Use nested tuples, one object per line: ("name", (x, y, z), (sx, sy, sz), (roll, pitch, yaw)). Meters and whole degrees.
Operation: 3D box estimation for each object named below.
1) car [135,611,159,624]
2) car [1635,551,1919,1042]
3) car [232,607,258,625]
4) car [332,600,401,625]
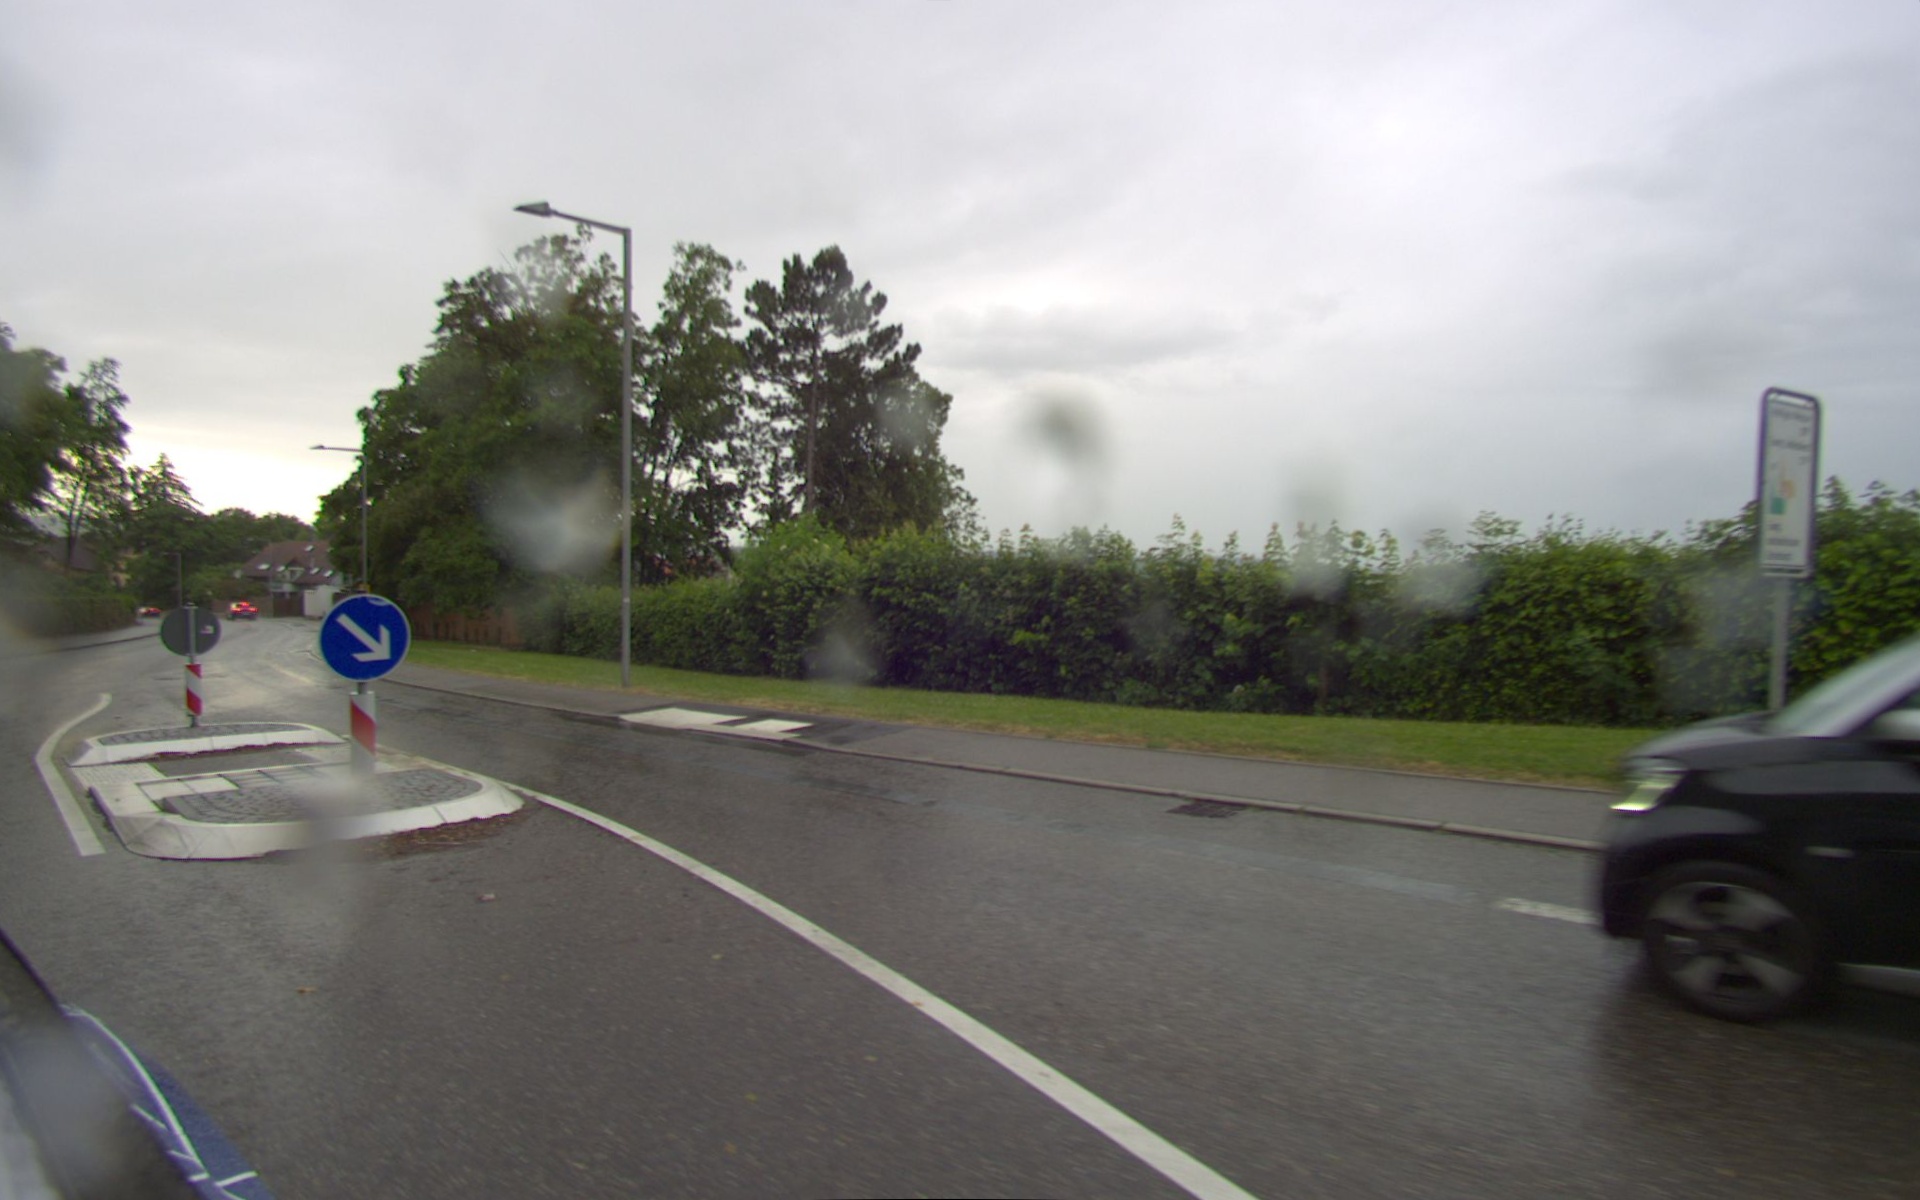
("car", (-100.760, 2.130, 125.427), (4.170, 1.523, 1.813), (0, 0, 44))
("car", (4.763, 0.627, 2.811), (4.625, 1.532, 1.812), (0, -1, 41))
("car", (-66.330, 1.453, 93.870), (1.892, 1.660, 4.558), (1, -1, -35))
("car", (-45.912, 0.982, 78.317), (4.442, 1.874, 2.095), (0, -1, -34))
